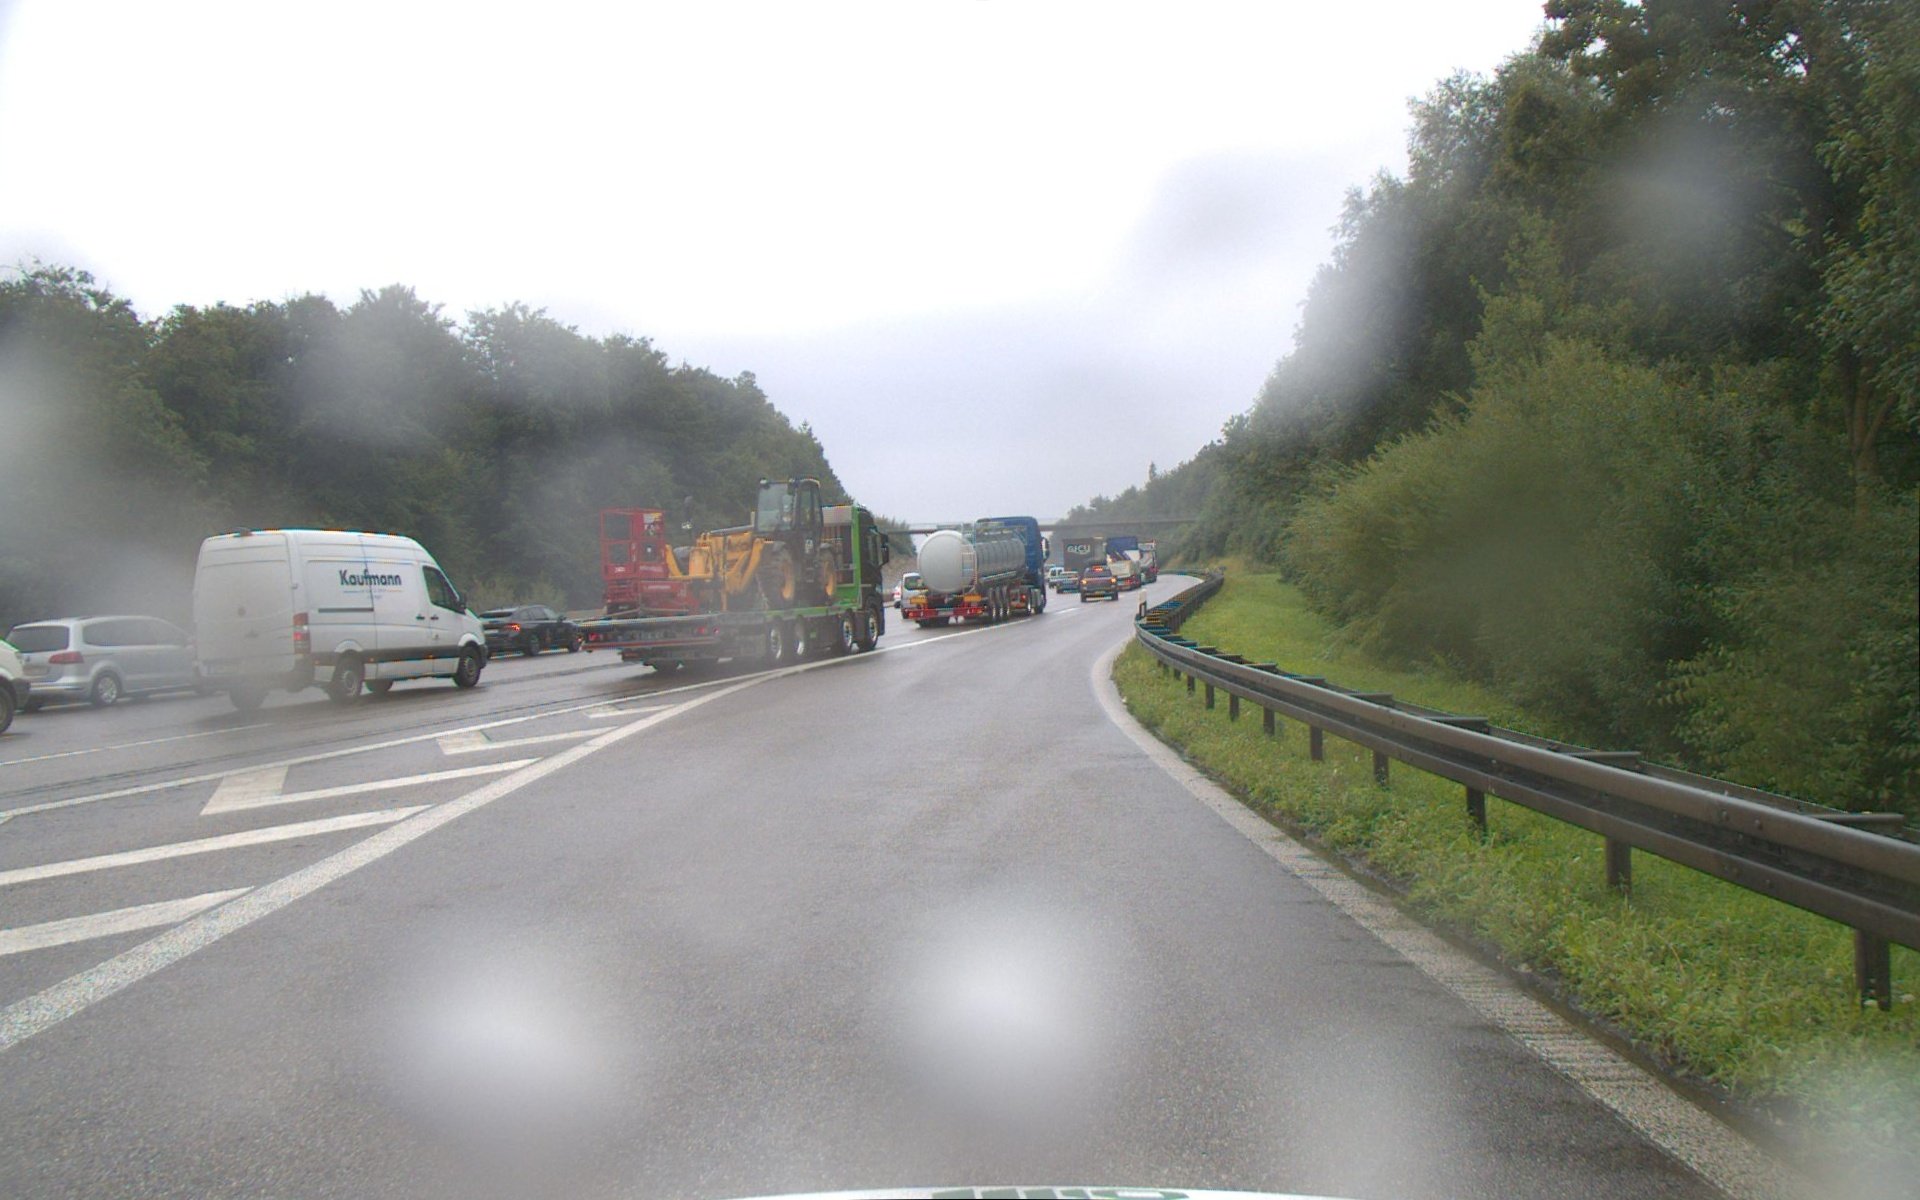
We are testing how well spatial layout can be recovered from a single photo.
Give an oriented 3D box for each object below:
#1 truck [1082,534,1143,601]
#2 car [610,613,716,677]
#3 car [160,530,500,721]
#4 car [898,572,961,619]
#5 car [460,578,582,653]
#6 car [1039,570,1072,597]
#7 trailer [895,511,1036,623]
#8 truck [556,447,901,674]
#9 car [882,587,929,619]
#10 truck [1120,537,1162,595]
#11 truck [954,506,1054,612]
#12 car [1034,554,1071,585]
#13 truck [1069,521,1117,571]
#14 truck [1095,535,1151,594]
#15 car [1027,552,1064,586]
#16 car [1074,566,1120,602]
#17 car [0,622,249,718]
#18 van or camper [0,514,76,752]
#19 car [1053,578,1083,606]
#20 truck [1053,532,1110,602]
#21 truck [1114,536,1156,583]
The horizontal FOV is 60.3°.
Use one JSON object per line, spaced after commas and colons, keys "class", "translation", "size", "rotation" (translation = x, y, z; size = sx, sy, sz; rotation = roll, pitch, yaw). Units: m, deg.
{"class": "truck", "translation": [10.679, -2.277, 114.634], "size": [3.523, 4.176, 11.570], "rotation": [-3, 1, 8]}
{"class": "car", "translation": [-8.700, 1.287, 48.817], "size": [1.747, 1.757, 4.003], "rotation": [1, 0, 11]}
{"class": "car", "translation": [-9.956, 0.345, 26.843], "size": [2.168, 2.675, 5.849], "rotation": [-3, 0, 13]}
{"class": "car", "translation": [-1.197, -0.195, 67.630], "size": [1.780, 1.797, 4.004], "rotation": [-2, 1, 10]}
{"class": "car", "translation": [-12.685, 0.437, 48.082], "size": [1.759, 2.049, 4.003], "rotation": [1, 0, 12]}
{"class": "car", "translation": [11.621, -1.961, 200.476], "size": [3.177, 3.055, 6.779], "rotation": [1, 0, 9]}
{"class": "trailer", "translation": [0.390, -1.159, 56.426], "size": [2.812, 3.345, 10.088], "rotation": [-3, 1, 11]}
{"class": "truck", "translation": [-4.130, -0.754, 33.574], "size": [2.771, 3.651, 11.809], "rotation": [-3, 0, 13]}
{"class": "car", "translation": [-3.243, 0.185, 99.343], "size": [1.951, 1.803, 4.138], "rotation": [-2, 0, 9]}
{"class": "truck", "translation": [19.487, -3.594, 177.472], "size": [4.244, 5.864, 9.738], "rotation": [1, 0, 7]}
{"class": "truck", "translation": [1.741, -1.564, 63.239], "size": [2.815, 3.757, 5.061], "rotation": [-3, 1, 12]}
{"class": "car", "translation": [9.837, -3.247, 176.167], "size": [3.177, 3.055, 6.779], "rotation": [1, 0, 9]}
{"class": "truck", "translation": [12.803, -5.077, 158.684], "size": [3.500, 4.167, 10.888], "rotation": [-2, -1, 10]}
{"class": "truck", "translation": [12.972, -2.728, 130.618], "size": [3.432, 4.342, 10.612], "rotation": [1, 0, 11]}
{"class": "car", "translation": [8.286, -2.935, 159.901], "size": [3.029, 3.055, 6.778], "rotation": [1, 0, 7]}
{"class": "car", "translation": [6.786, -0.762, 81.676], "size": [1.951, 1.665, 4.003], "rotation": [1, 0, 9]}
{"class": "car", "translation": [-16.093, 1.291, 32.055], "size": [1.826, 1.549, 4.634], "rotation": [-3, 0, 13]}
{"class": "van or camper", "translation": [-14.871, 0.535, 20.756], "size": [2.524, 3.260, 7.137], "rotation": [-3, 0, 12]}
{"class": "car", "translation": [7.688, -0.523, 117.358], "size": [1.759, 1.937, 4.003], "rotation": [0, 0, 9]}
{"class": "truck", "translation": [10.238, -2.670, 138.229], "size": [3.674, 5.595, 10.181], "rotation": [1, 0, 10]}
{"class": "truck", "translation": [16.494, -3.708, 155.678], "size": [3.675, 4.040, 11.067], "rotation": [1, 0, 6]}
